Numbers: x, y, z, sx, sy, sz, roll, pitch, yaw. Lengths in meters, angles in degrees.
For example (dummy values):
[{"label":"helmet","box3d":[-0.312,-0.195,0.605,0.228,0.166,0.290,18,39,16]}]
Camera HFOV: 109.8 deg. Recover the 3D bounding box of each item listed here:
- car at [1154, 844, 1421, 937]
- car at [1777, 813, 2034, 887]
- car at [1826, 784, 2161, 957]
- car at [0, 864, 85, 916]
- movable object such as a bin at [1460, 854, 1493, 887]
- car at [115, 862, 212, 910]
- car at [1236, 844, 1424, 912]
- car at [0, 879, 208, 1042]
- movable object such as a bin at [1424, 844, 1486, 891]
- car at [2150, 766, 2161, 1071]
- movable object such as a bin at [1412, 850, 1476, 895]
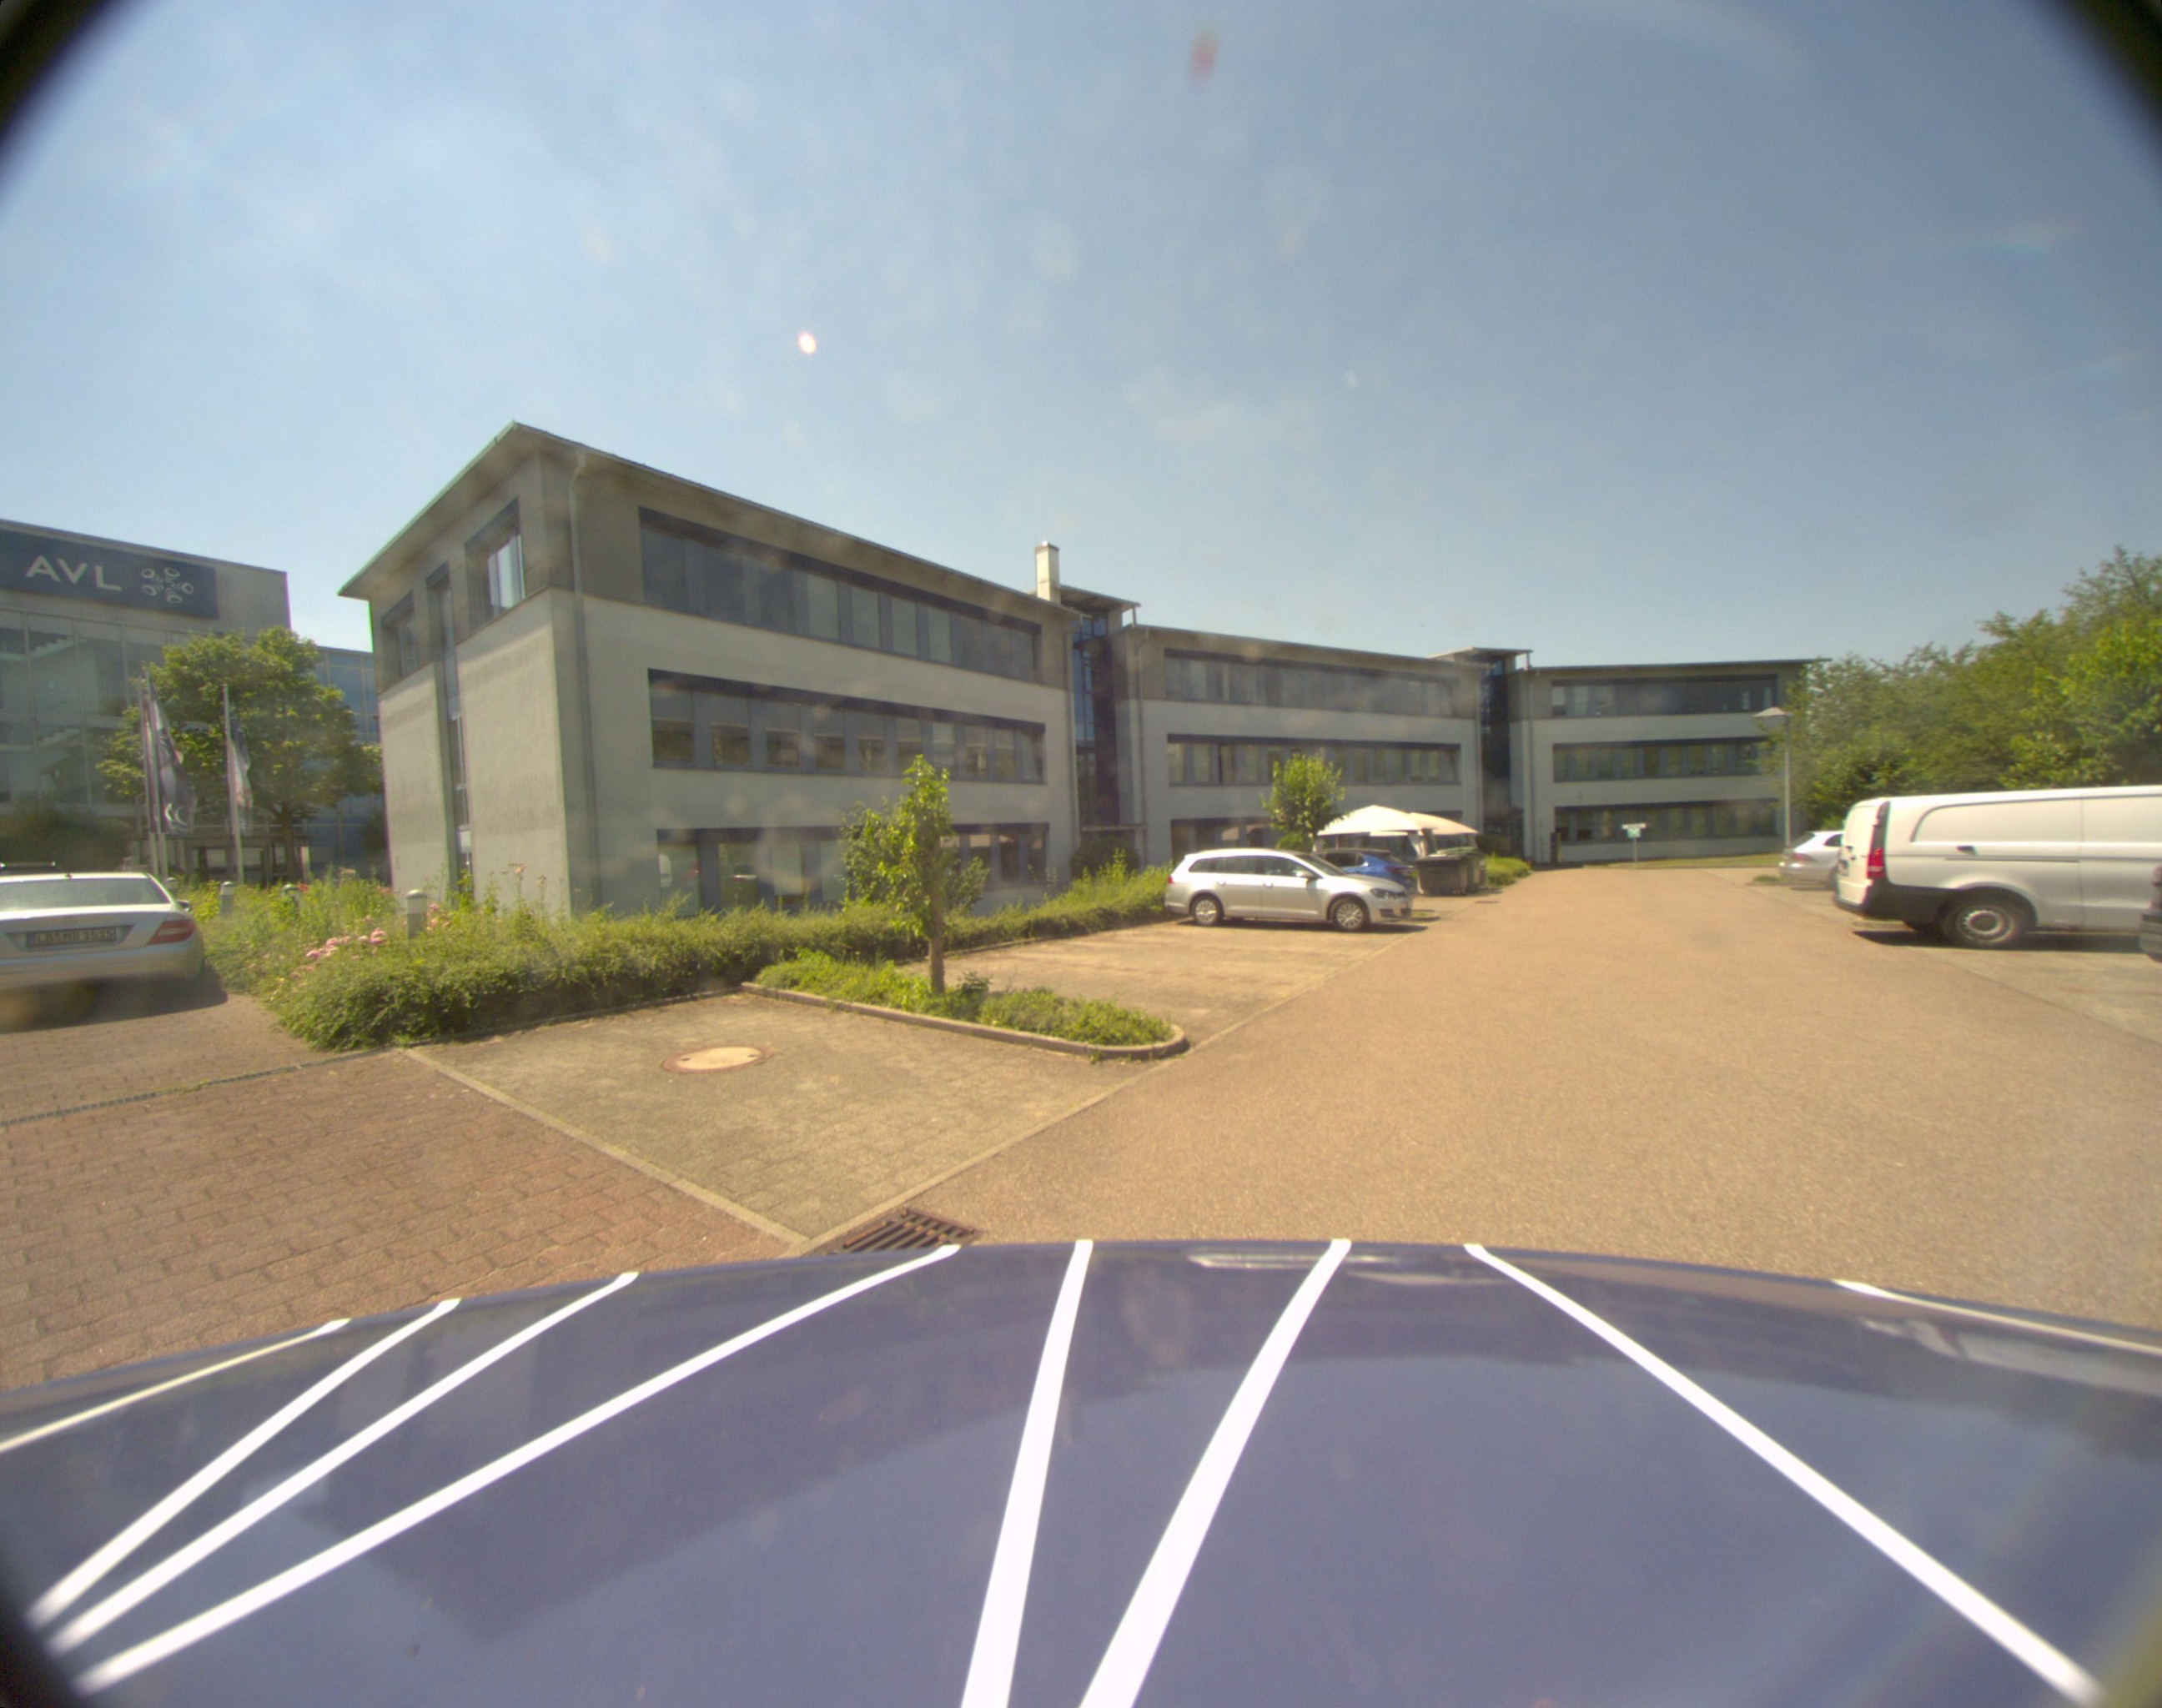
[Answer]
[{"label":"car","box3d":[3.838,0.600,14.404,4.508,1.489,1.832,0,2,33]},{"label":"car","box3d":[18.925,-0.065,17.702,3.755,1.549,1.664,-2,1,33]},{"label":"car","box3d":[12.116,0.152,8.939,4.508,1.871,1.832,-2,1,33]},{"label":"car","box3d":[-33.659,1.137,24.396,3.989,1.510,1.753,-2,1,34]},{"label":"movable object such as a bin","box3d":[11.628,0.477,22.335,0.689,0.944,0.723,-1,1,39]},{"label":"car","box3d":[-32.340,1.103,26.759,3.989,1.510,1.753,-2,1,34]},{"label":"car","box3d":[5.700,0.493,17.539,3.816,1.384,1.655,0,2,33]},{"label":"car","box3d":[-11.245,1.049,8.364,3.706,1.428,1.733,-2,1,35]},{"label":"movable object such as a bin","box3d":[10.750,0.388,21.852,1.361,1.288,1.045,-1,1,39]},{"label":"car","box3d":[8.209,0.370,2.728,4.722,1.895,1.833,-2,1,33]},{"label":"movable object such as a bin","box3d":[10.045,0.501,21.020,1.361,1.183,0.999,-1,1,39]}]
